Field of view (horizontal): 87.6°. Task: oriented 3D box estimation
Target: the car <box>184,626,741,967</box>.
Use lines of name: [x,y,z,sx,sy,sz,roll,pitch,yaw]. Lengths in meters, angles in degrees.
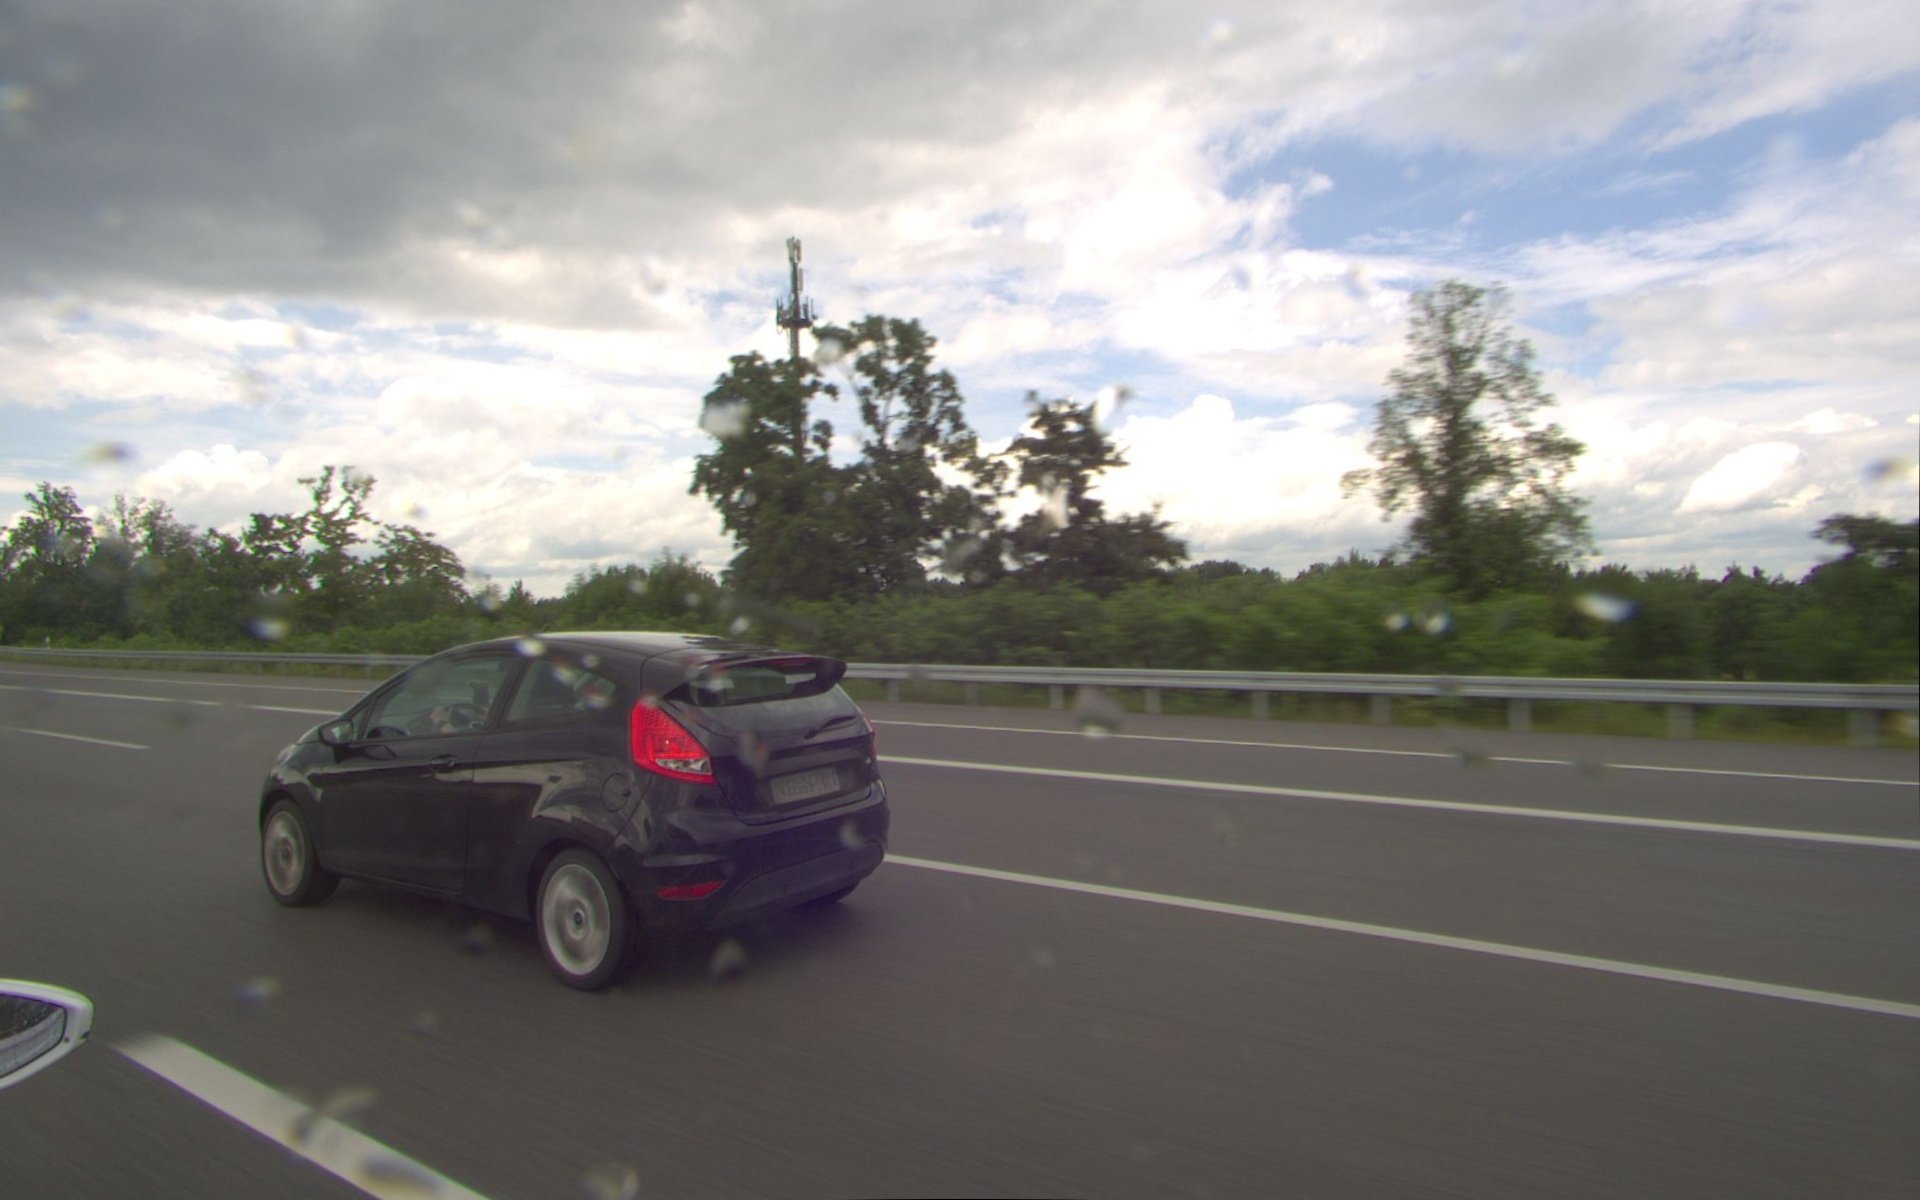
car: [-2.913,0.887,5.748,3.118,1.460,1.444,-1,-1,32]
